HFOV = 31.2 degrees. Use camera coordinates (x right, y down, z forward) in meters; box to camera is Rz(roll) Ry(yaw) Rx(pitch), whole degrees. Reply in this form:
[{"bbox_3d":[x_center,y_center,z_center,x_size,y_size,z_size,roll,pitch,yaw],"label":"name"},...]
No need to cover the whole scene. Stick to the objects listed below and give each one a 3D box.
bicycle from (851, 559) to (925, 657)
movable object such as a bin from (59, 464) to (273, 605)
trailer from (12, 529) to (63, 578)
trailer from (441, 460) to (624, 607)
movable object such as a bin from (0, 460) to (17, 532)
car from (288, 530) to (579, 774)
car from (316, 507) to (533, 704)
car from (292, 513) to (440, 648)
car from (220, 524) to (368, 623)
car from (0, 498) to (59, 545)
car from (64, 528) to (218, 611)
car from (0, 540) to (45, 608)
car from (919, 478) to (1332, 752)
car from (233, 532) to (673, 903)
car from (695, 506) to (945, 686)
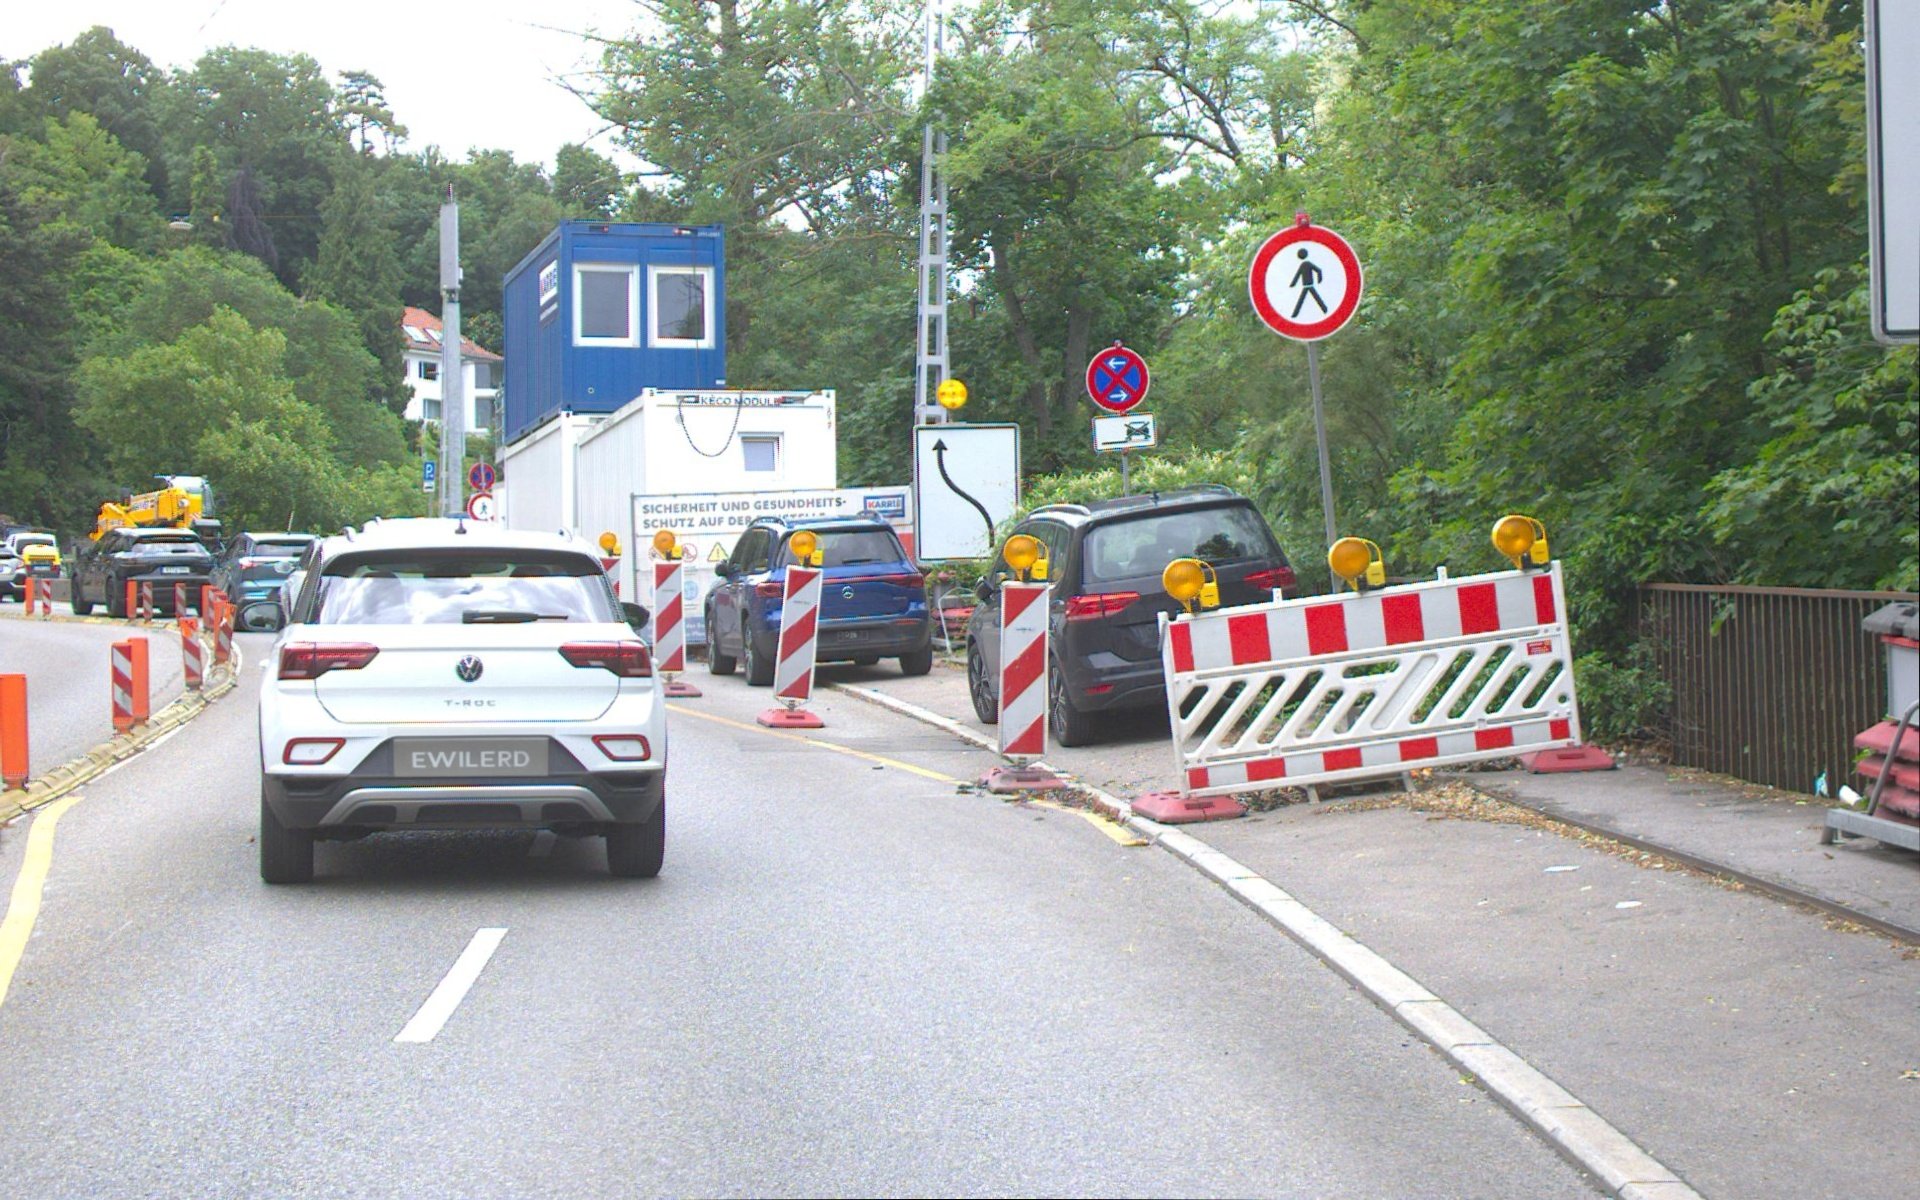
[{"bbox_3d":[-0.859,0.078,40.657,0.498,1.104,1.801,-3,2,-12],"label":"bicycle"},{"bbox_3d":[-18.593,-1.527,80.149,2.811,3.060,7.824,1,1,-28],"label":"movable object such as a bin"},{"bbox_3d":[-28.627,-1.445,106.627,1.288,1.470,3.635,1,1,-18],"label":"trailer"},{"bbox_3d":[-7.833,-1.213,62.622,2.106,2.541,5.120,-1,1,-21],"label":"trailer"},{"bbox_3d":[-37.251,-3.952,130.281,2.211,2.654,4.946,1,1,-7],"label":"movable object such as a bin"},{"bbox_3d":[-3.598,0.286,23.678,1.809,1.526,4.001,0,1,-8],"label":"car"},{"bbox_3d":[-4.864,0.007,31.079,1.809,1.657,4.001,0,1,-10],"label":"car"},{"bbox_3d":[-7.707,-0.280,44.667,1.809,1.657,4.001,0,1,-10],"label":"car"},{"bbox_3d":[-10.605,-0.442,54.575,1.794,1.505,4.001,-1,1,-18],"label":"car"},{"bbox_3d":[-31.082,-2.594,114.265,1.794,1.505,4.001,0,0,-21],"label":"car"},{"bbox_3d":[-15.433,-0.595,64.671,1.794,1.505,4.000,-1,1,-29],"label":"car"},{"bbox_3d":[-22.288,-0.602,78.420,1.794,1.505,4.000,-1,1,-29],"label":"car"},{"bbox_3d":[1.088,0.055,25.191,1.861,1.668,4.648,-5,2,-11],"label":"car"},{"bbox_3d":[-2.461,0.446,16.293,1.809,1.526,4.001,0,1,-10],"label":"car"},{"bbox_3d":[-1.523,-0.083,35.596,1.839,1.637,4.504,-4,2,-11],"label":"car"}]
